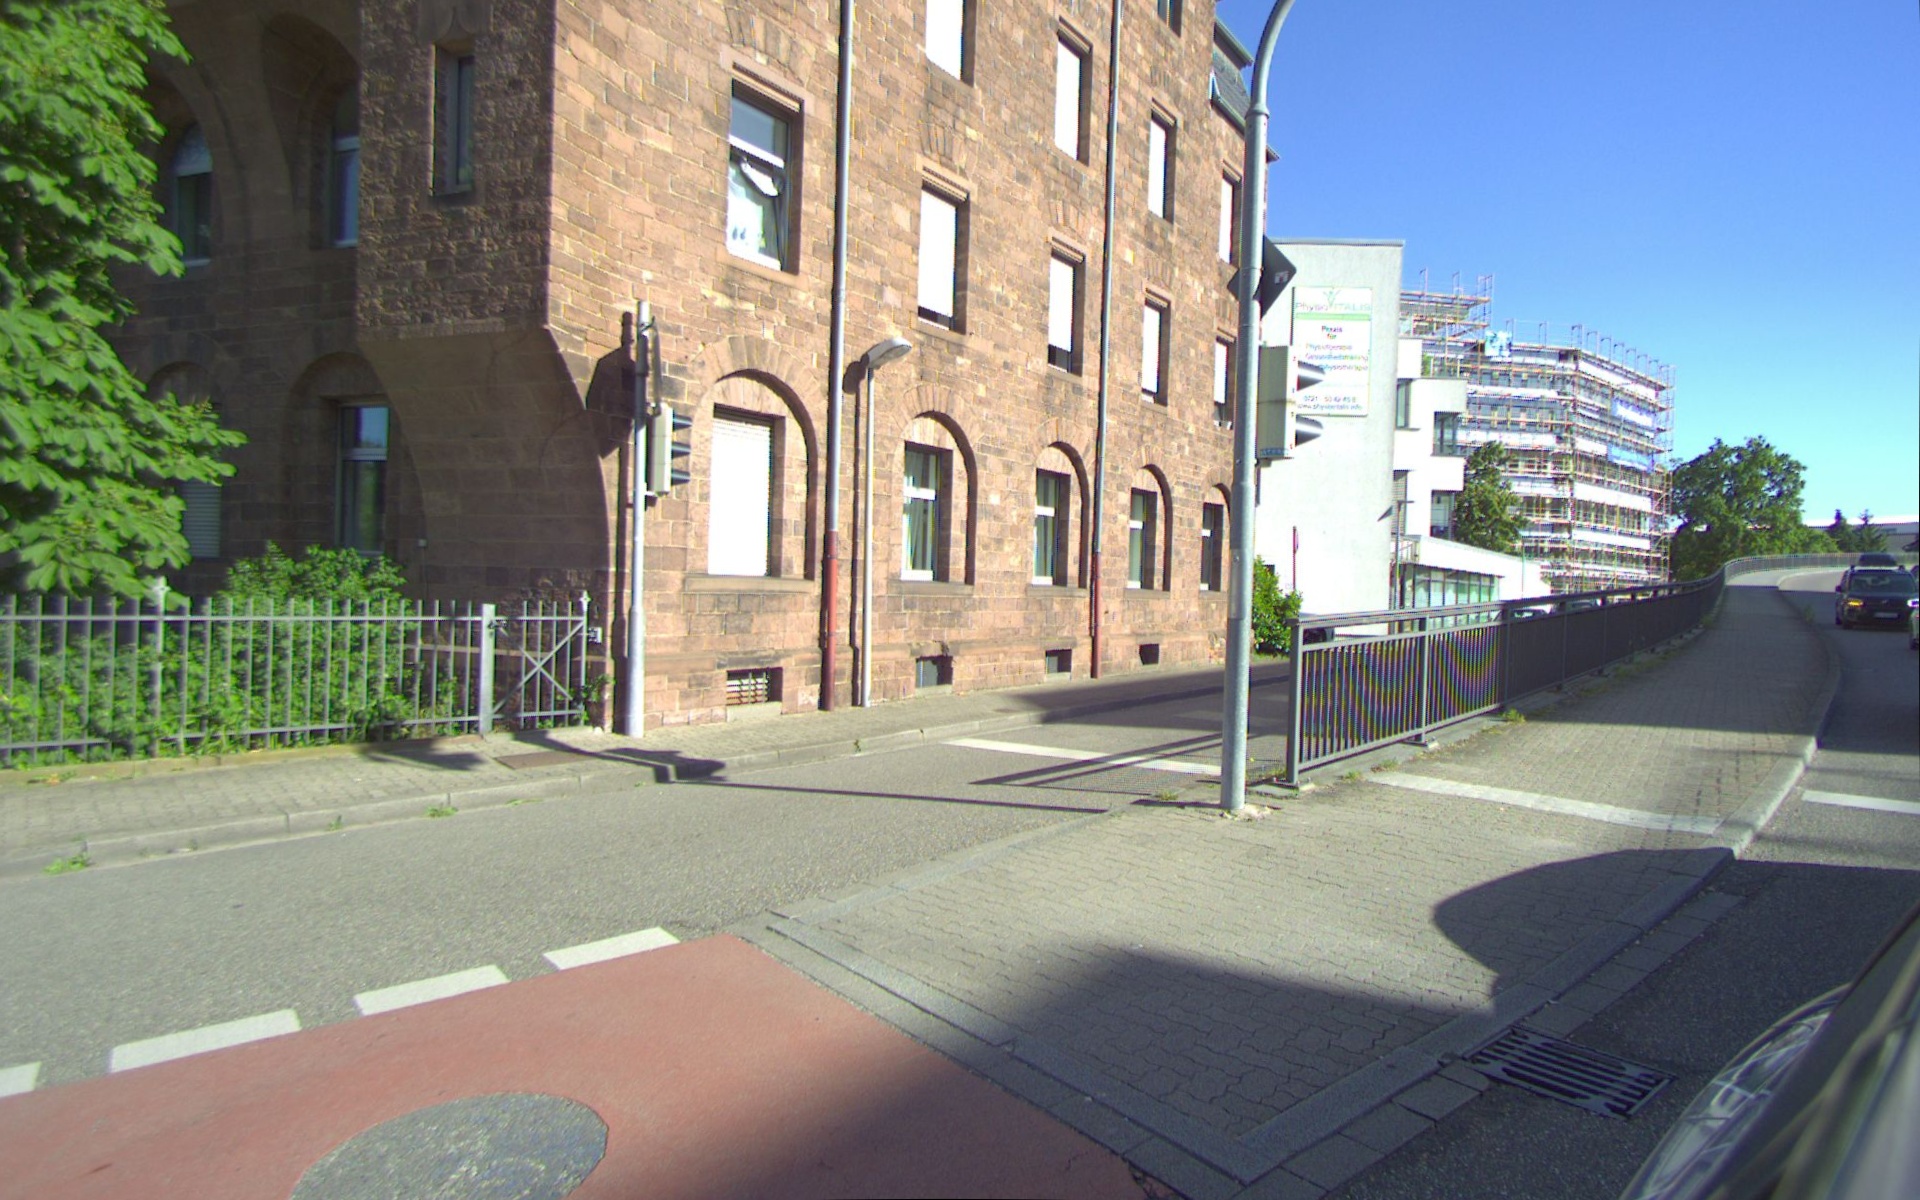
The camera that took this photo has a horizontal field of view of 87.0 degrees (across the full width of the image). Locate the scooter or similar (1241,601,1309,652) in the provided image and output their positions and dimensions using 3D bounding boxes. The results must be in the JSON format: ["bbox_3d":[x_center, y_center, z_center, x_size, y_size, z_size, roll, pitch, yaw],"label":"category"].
[{"bbox_3d":[7.903,0.655,25.378,1.453,1.234,0.775,-1,-1,35],"label":"scooter or similar"}]

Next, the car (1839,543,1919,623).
[{"bbox_3d":[28.014,-0.555,30.552,1.900,2.241,4.538,1,2,37],"label":"car"}]

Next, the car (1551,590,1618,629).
[{"bbox_3d":[27.585,0.397,44.653,1.843,1.554,3.940,3,2,41],"label":"car"}]

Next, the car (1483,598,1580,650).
[{"bbox_3d":[19.117,0.746,33.764,1.844,1.448,4.611,1,3,42],"label":"car"}]

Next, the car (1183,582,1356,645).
[{"bbox_3d":[9.094,0.369,30.061,4.562,1.789,1.828,0,2,2],"label":"car"}]
